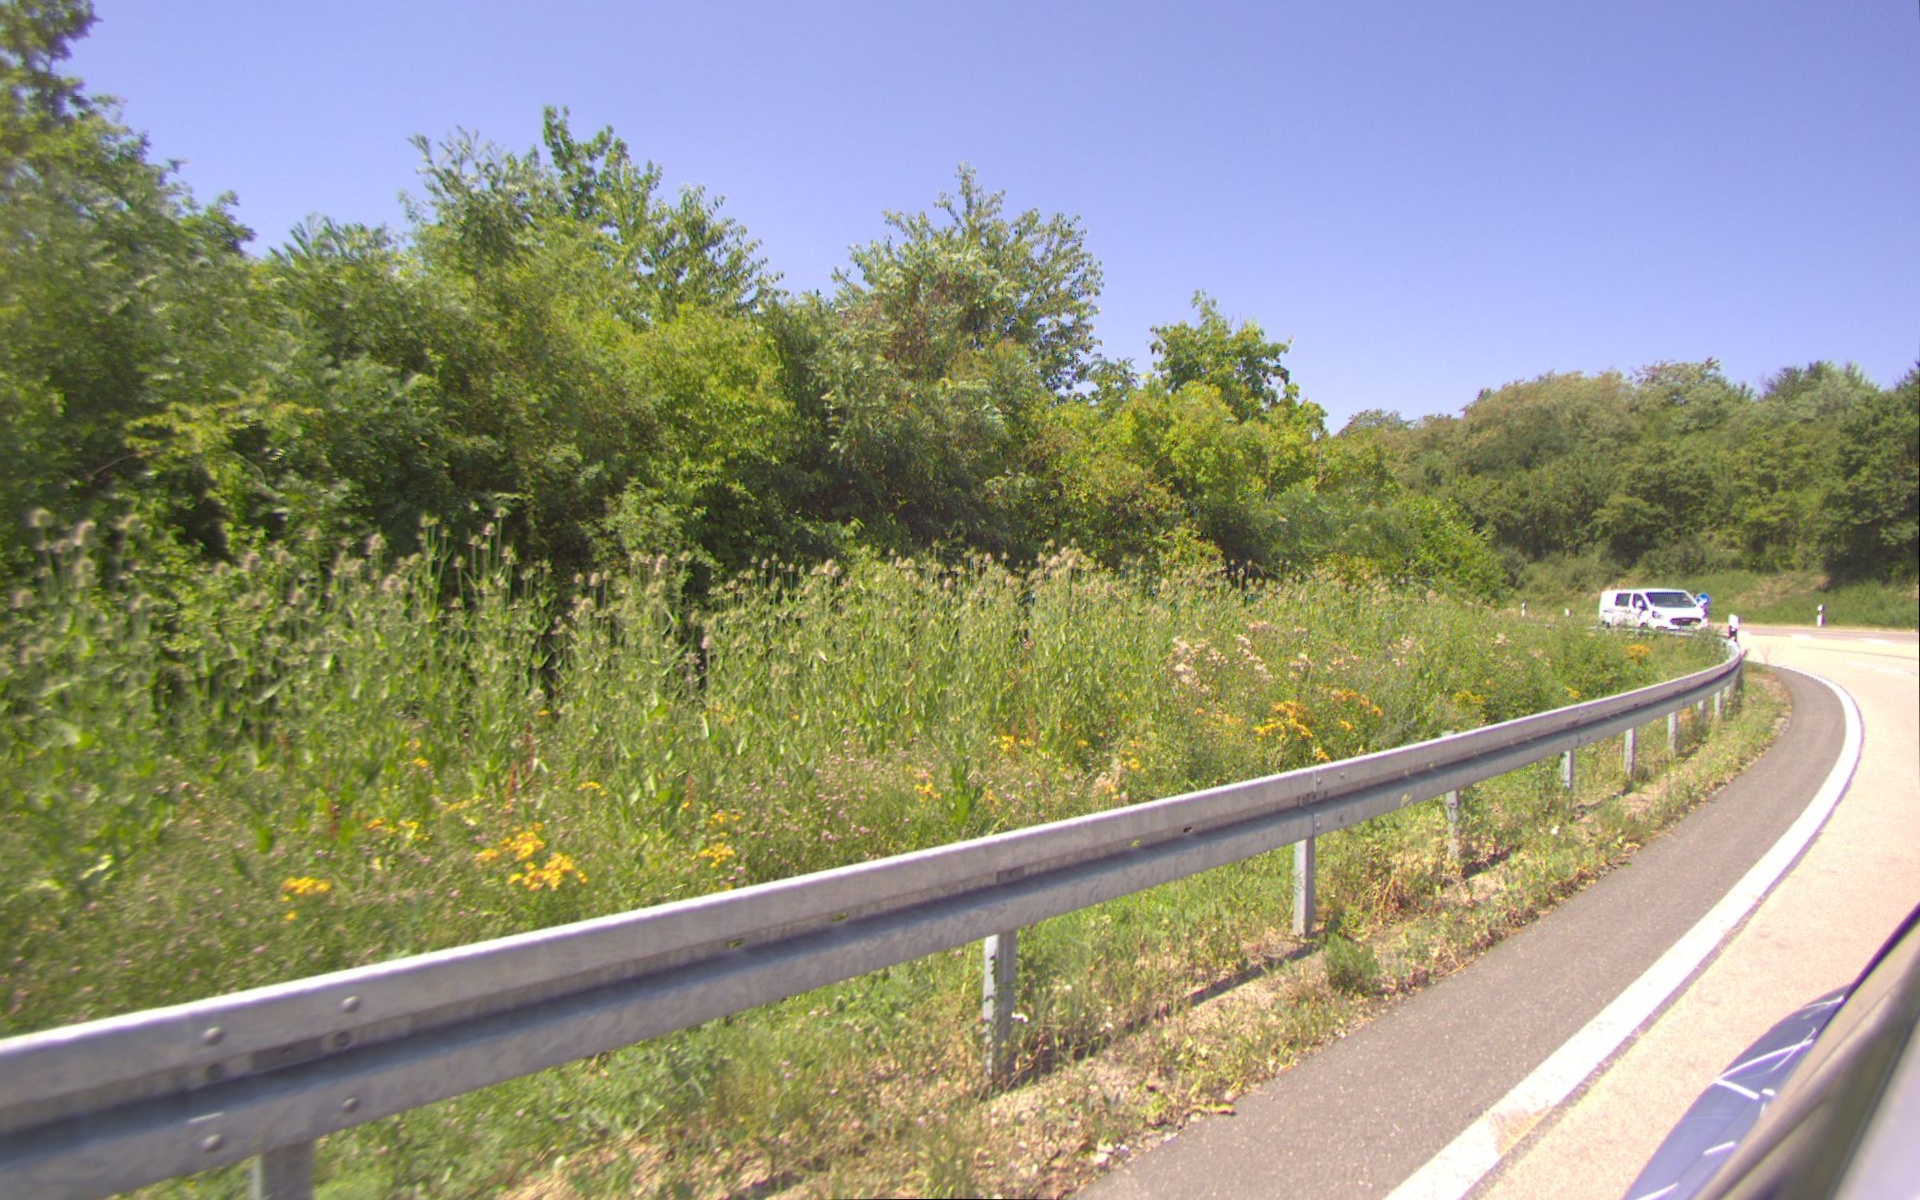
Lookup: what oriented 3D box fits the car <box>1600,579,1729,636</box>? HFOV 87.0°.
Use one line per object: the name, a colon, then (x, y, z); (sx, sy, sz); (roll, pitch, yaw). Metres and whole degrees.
car: (26.945, 0.233, 38.922); (2.030, 2.039, 5.028); (-1, 0, 9)
